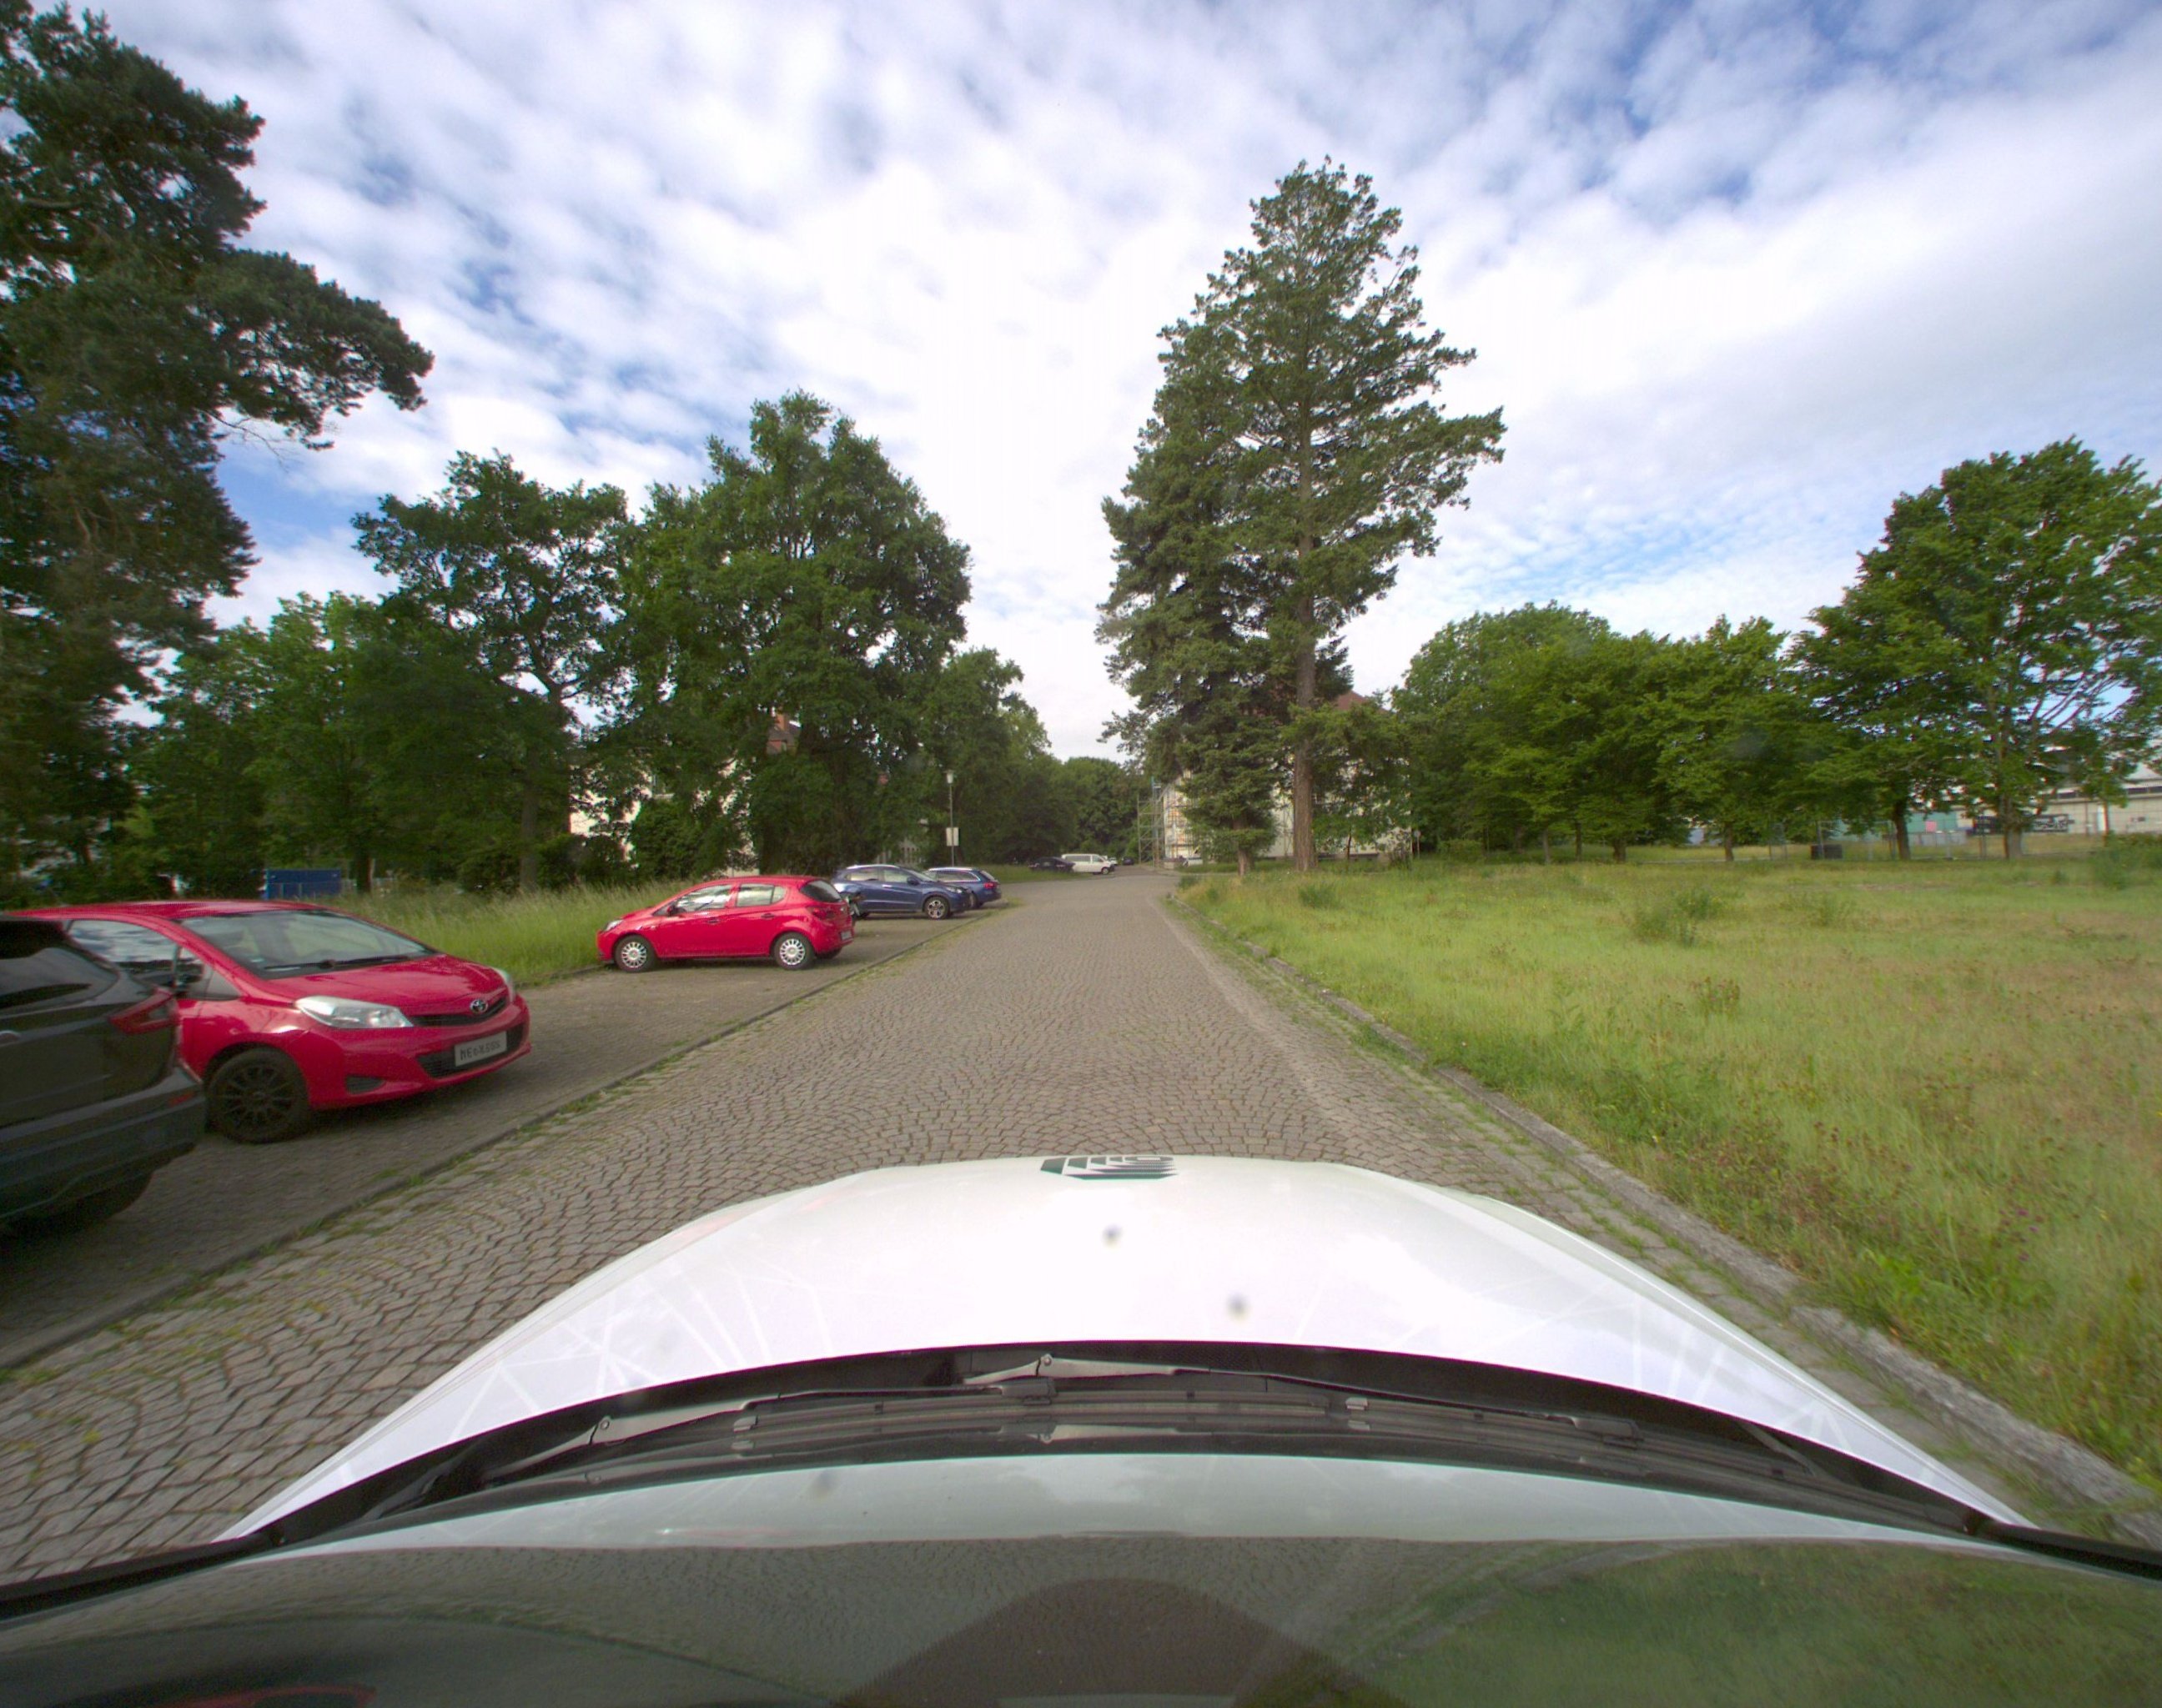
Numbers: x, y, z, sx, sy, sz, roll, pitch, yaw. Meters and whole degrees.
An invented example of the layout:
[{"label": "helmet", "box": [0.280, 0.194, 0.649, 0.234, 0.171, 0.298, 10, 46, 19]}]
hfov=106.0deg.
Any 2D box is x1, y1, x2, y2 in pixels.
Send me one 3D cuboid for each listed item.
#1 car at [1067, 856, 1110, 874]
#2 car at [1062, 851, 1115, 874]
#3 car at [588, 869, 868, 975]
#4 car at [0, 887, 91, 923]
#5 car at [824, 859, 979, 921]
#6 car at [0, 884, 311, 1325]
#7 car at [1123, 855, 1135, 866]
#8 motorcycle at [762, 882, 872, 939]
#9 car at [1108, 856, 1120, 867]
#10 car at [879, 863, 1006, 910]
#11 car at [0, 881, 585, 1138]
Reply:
[{"label": "car", "box": [0.878, 1.281, 94.747, 4.961, 1.968, 2.052, -1, -2, 0]}, {"label": "car", "box": [0.699, 0.819, 77.329, 4.961, 2.073, 2.052, -1, -2, 0]}, {"label": "car", "box": [-5.706, 1.070, 13.517, 3.802, 1.489, 1.788, -2, 0, 1]}, {"label": "car", "box": [-67.307, 3.257, 52.296, 2.054, 2.095, 4.346, -3, -2, 2]}, {"label": "car", "box": [-5.164, 1.013, 23.762, 4.058, 1.604, 1.787, -2, 0, 0]}, {"label": "car", "box": [-6.010, 0.999, 3.202, 4.054, 1.575, 1.954, -2, 0, 0]}, {"label": "car", "box": [8.423, 1.197, 143.547, 1.784, 1.720, 4.061, -2, -2, 1]}, {"label": "motorcycle", "box": [-5.849, 1.252, 18.087, 2.216, 1.159, 0.647, -2, 0, 4]}, {"label": "car", "box": [5.800, 1.337, 143.290, 1.784, 1.636, 4.061, -2, -2, 1]}, {"label": "car", "box": [-4.786, 1.118, 28.452, 4.051, 1.467, 1.628, -2, 0, 5]}, {"label": "car", "box": [-6.113, 1.026, 5.994, 3.801, 1.486, 1.762, -2, 0, 1]}]
